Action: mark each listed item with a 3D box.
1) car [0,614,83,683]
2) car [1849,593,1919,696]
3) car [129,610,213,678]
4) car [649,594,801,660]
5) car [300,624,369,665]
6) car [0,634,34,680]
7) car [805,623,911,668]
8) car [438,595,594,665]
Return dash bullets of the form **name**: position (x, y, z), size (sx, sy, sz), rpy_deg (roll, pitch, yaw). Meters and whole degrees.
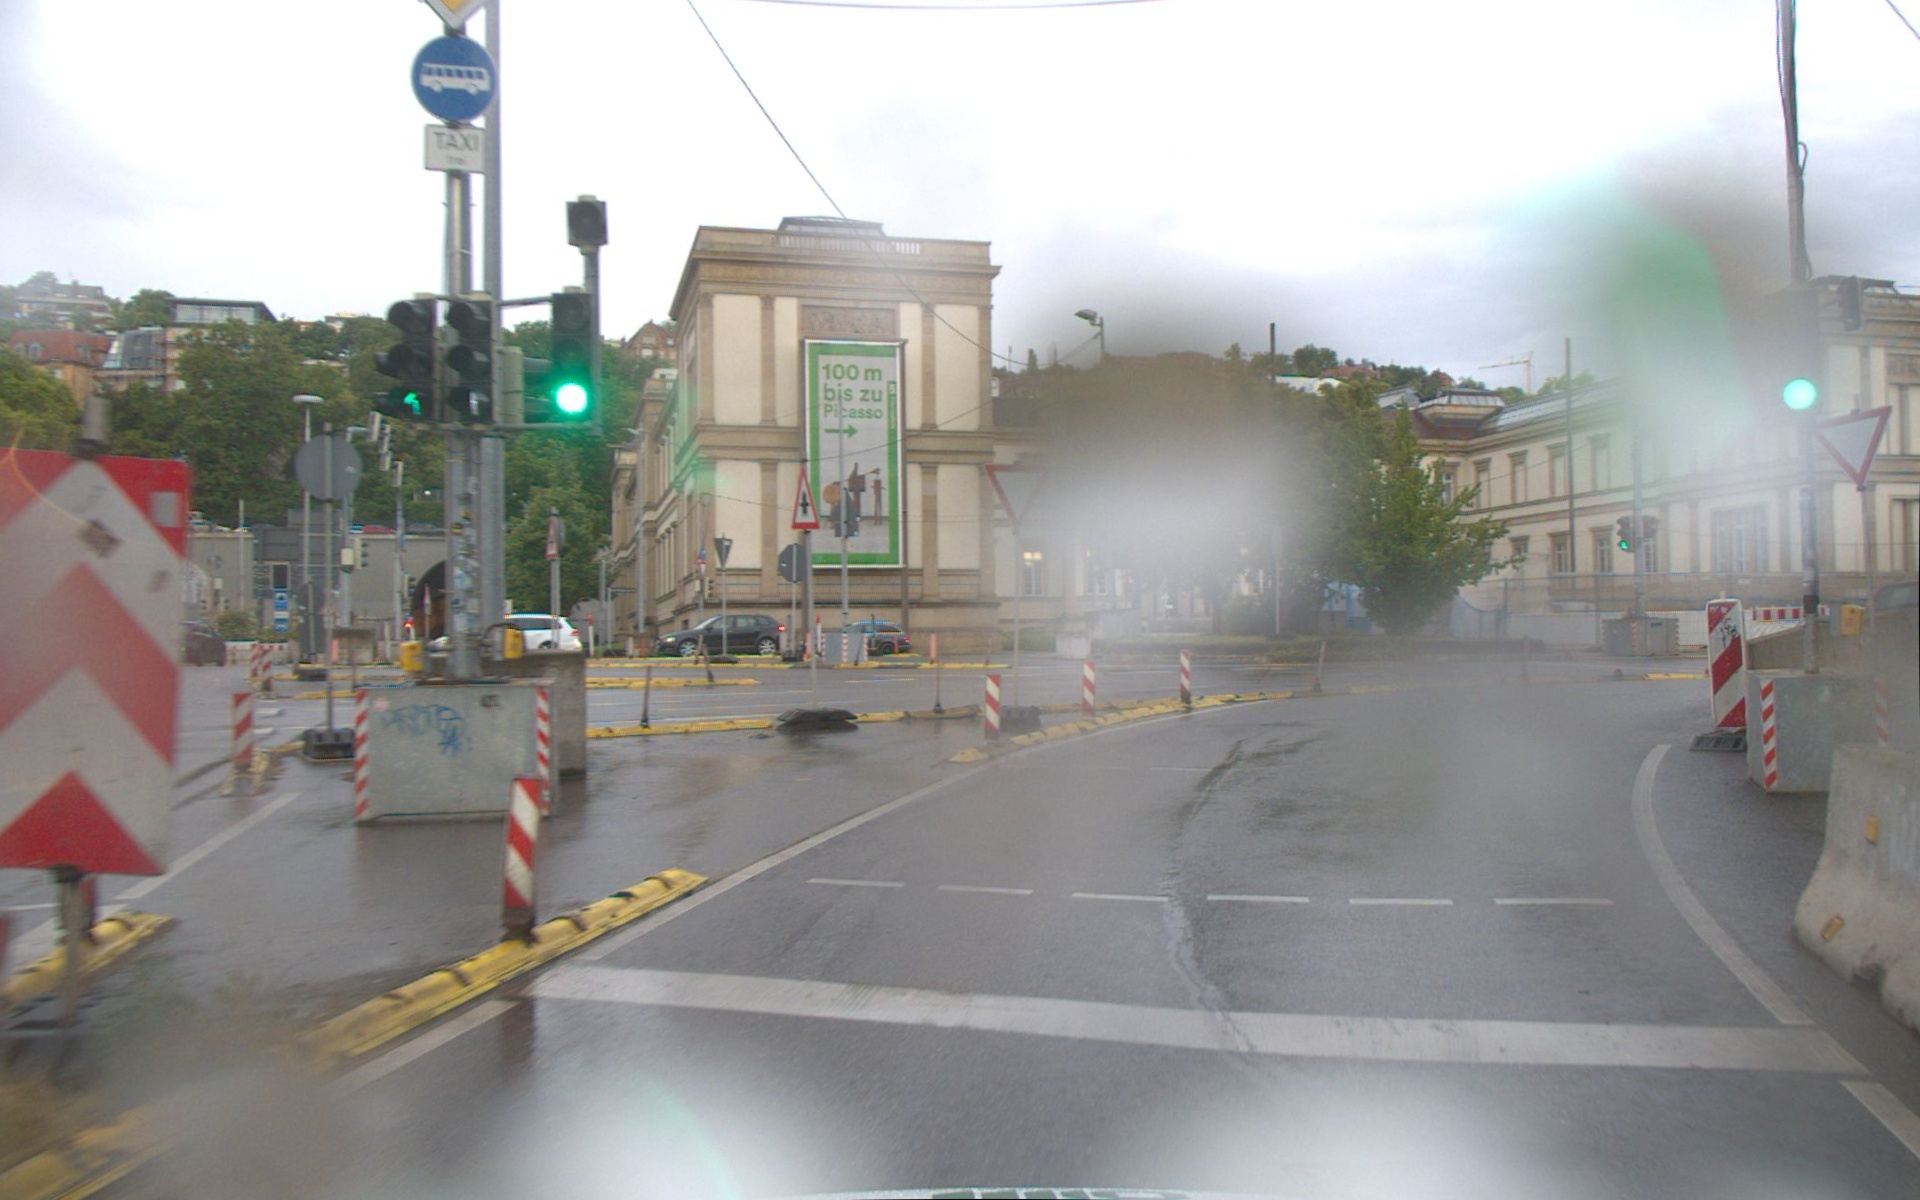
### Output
- **car**: position (-20.904, 1.055, 37.230), size (1.970, 1.464, 3.964), rpy_deg (1, -1, -28)
- **car**: position (15.109, 0.663, 24.844), size (3.715, 1.452, 1.655), rpy_deg (1, 0, -36)
- **car**: position (-25.295, 1.360, 53.141), size (1.964, 2.049, 3.978), rpy_deg (0, 0, -19)
- **car**: position (-7.610, 0.873, 53.438), size (4.602, 2.049, 1.990), rpy_deg (1, 0, -18)
- **car**: position (-27.766, 1.951, 73.496), size (1.956, 1.663, 3.993), rpy_deg (2, -1, -8)
- **car**: position (-46.585, 2.724, 79.854), size (1.957, 2.049, 3.991), rpy_deg (1, 0, -9)
- **car**: position (-4.178, 1.845, 67.528), size (4.109, 1.730, 1.816), rpy_deg (1, 0, -13)
- **car**: position (-13.768, 0.929, 51.320), size (4.554, 2.049, 1.990), rpy_deg (1, 0, -18)
